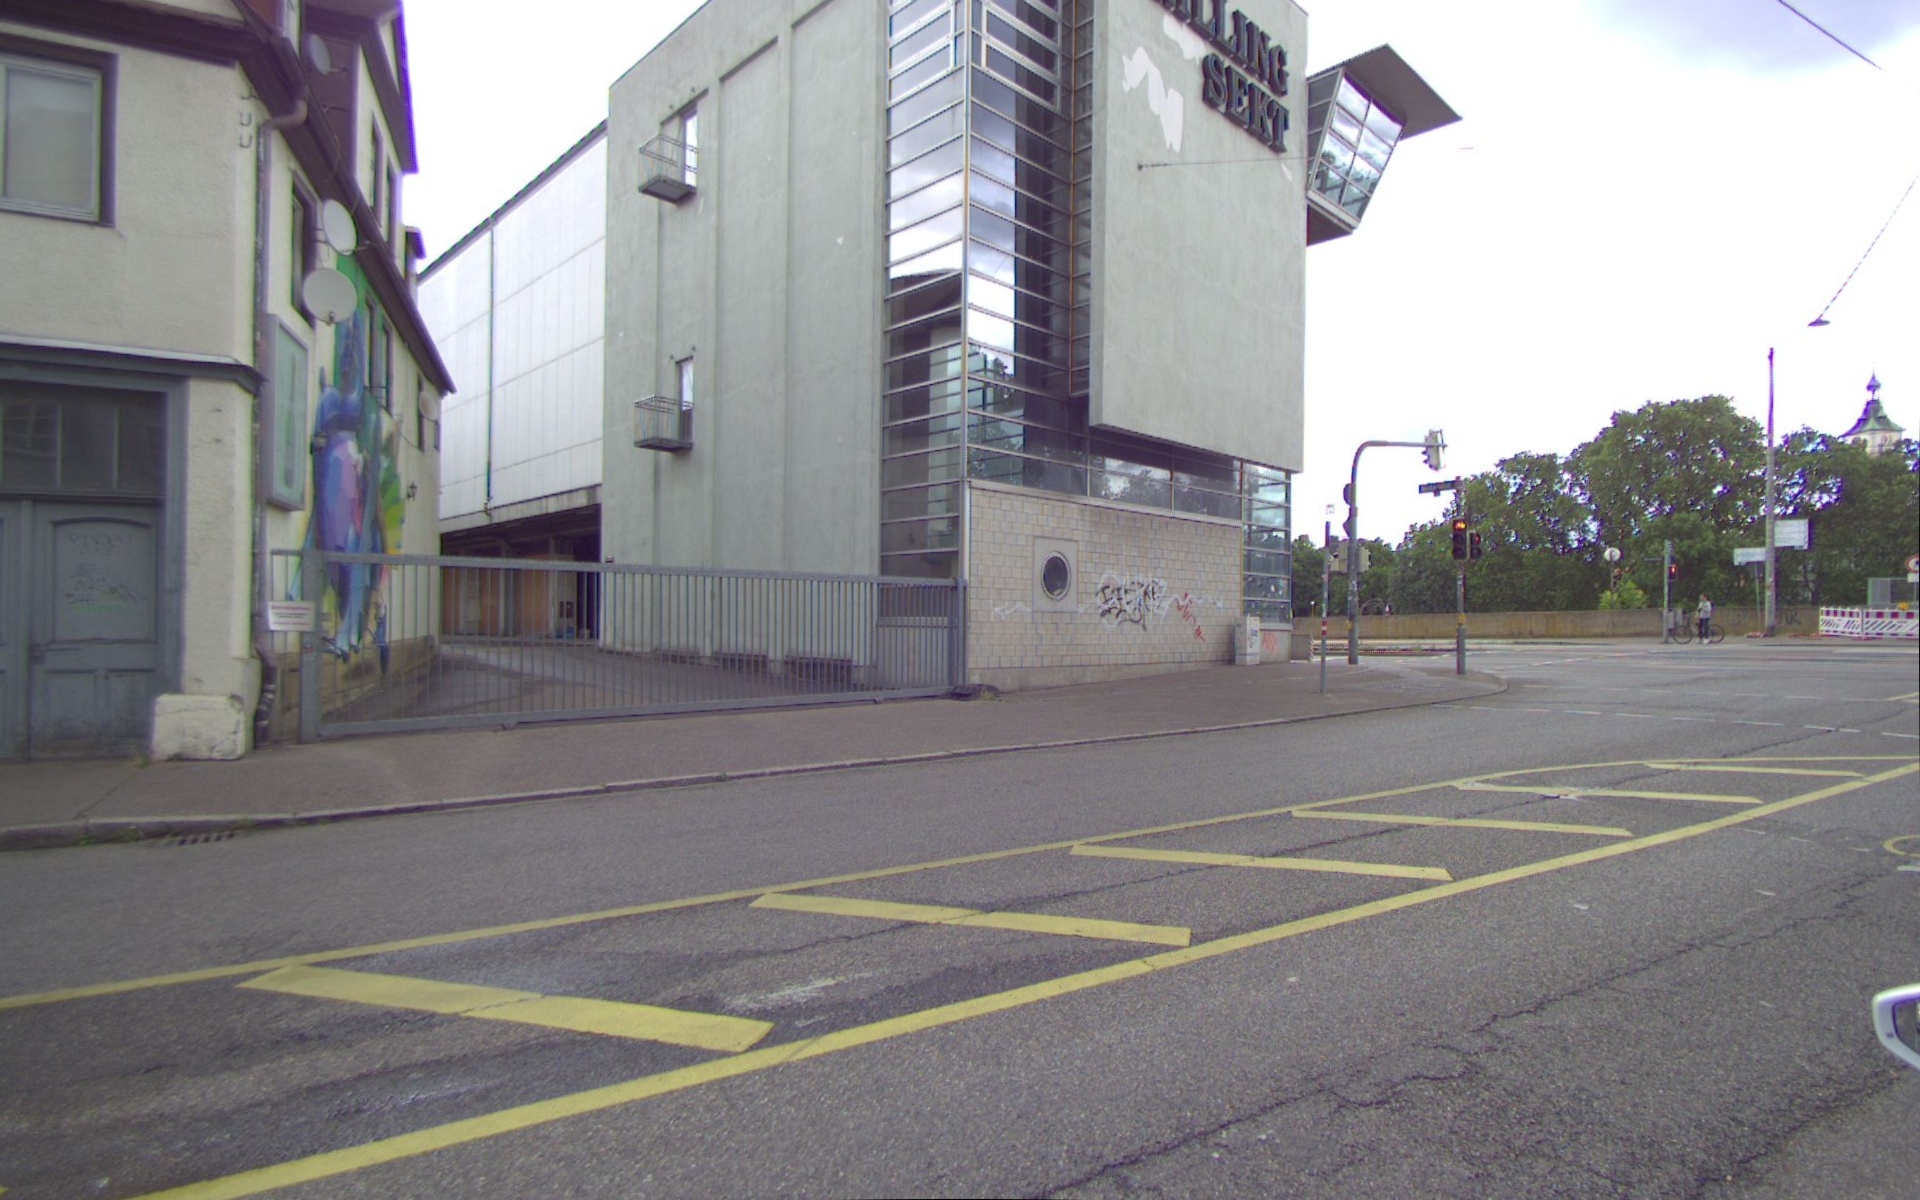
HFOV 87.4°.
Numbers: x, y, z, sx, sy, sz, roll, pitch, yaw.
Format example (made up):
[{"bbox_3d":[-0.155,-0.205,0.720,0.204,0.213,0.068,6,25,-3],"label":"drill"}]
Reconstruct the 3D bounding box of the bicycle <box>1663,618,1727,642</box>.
[{"bbox_3d":[28.448,1.153,38.891,1.912,0.878,0.560,0,-1,17],"label":"bicycle"}]

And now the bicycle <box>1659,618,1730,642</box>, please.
[{"bbox_3d":[28.498,1.153,38.988,2.096,0.904,0.760,-1,0,21],"label":"bicycle"}]

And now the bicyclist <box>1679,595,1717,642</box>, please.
[{"bbox_3d":[28.604,0.704,38.950,0.985,1.767,0.755,0,0,21],"label":"bicyclist"}]
